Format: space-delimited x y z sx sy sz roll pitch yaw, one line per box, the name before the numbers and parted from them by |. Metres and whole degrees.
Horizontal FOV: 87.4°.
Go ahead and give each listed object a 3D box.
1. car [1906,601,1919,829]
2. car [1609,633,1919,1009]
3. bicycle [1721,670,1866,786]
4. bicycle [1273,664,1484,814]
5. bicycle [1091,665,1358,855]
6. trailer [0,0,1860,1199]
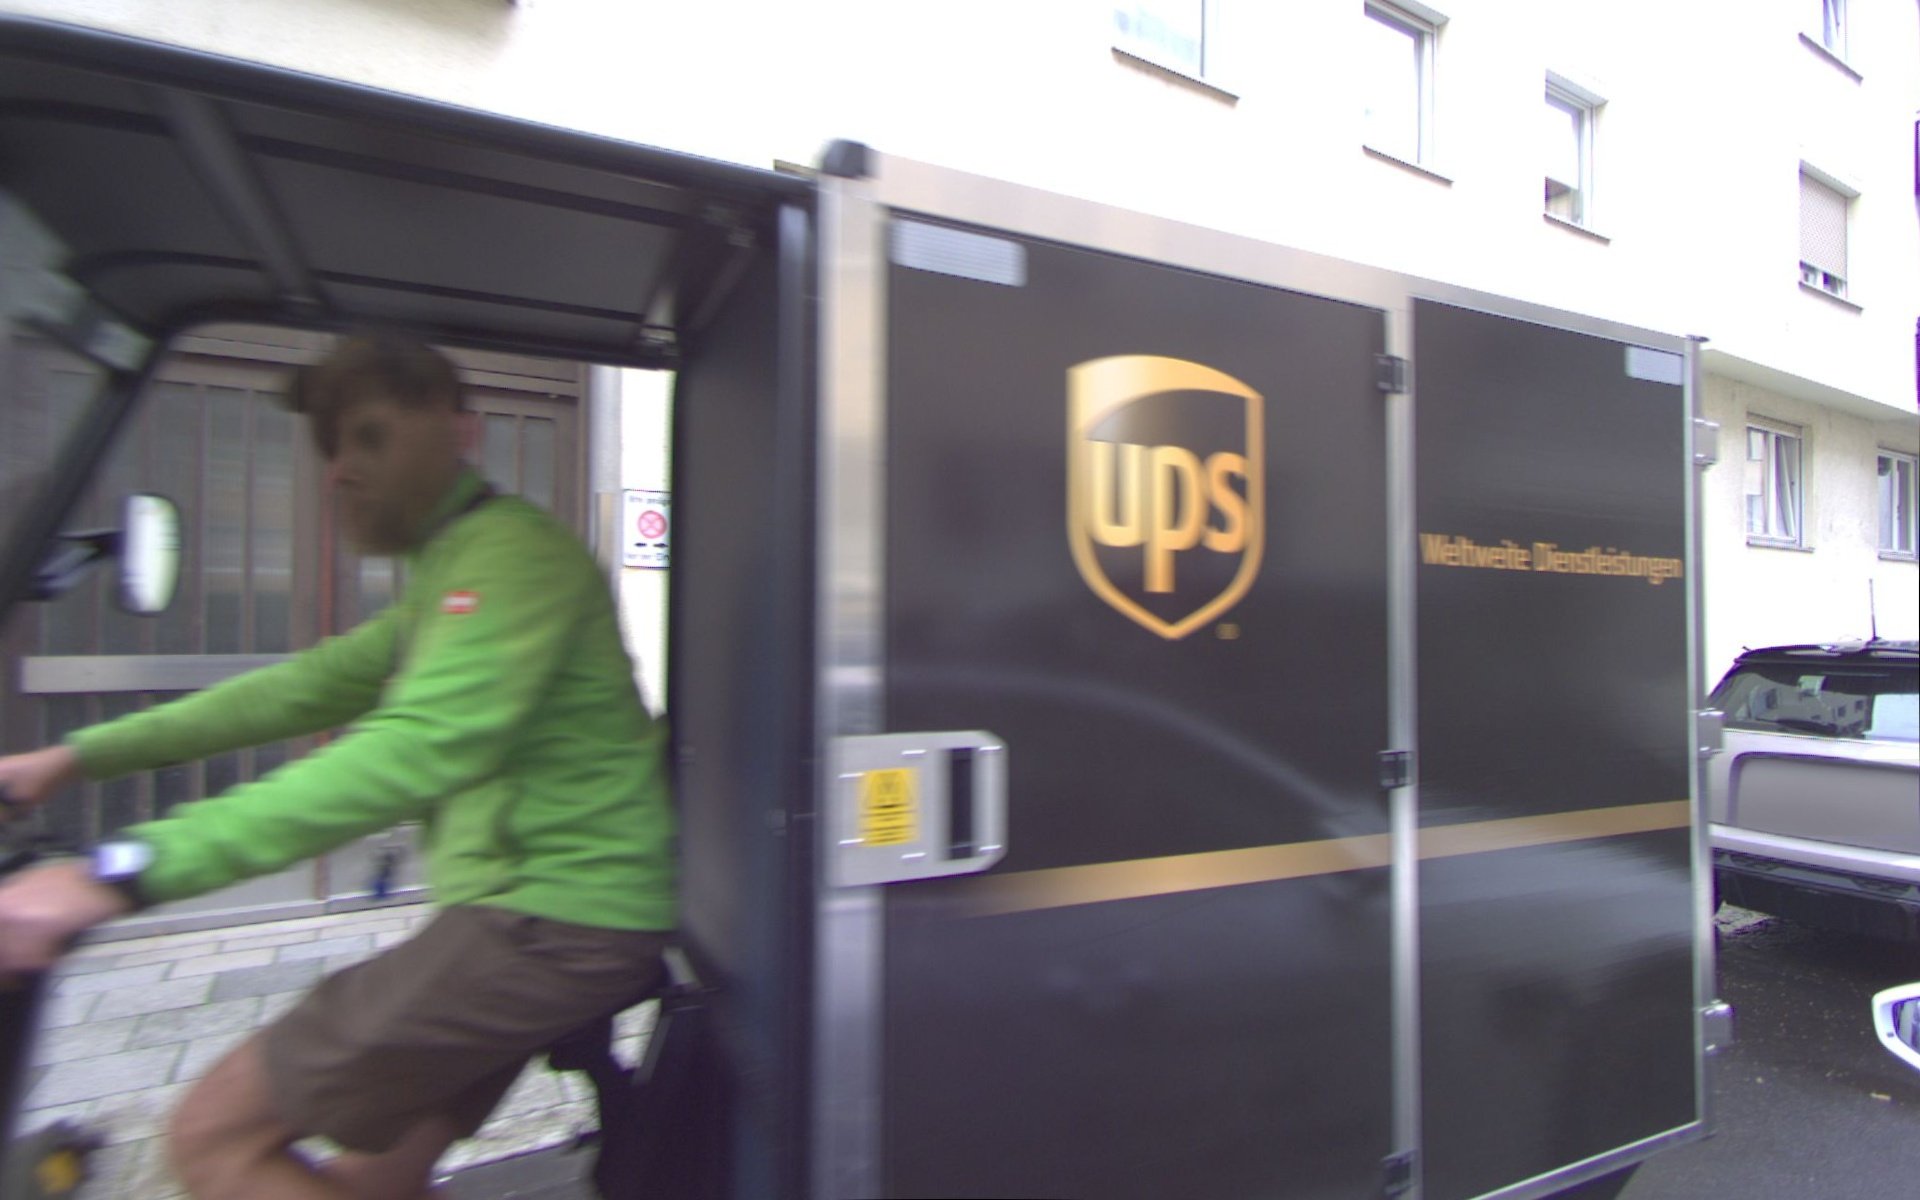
car | 9.408 0.886 7.907 4.317 1.697 1.757 2 -2 -31
car | 5.191 0.910 5.124 3.758 1.454 1.644 1 -2 -30
bicycle | 9.325 1.391 11.223 1.768 1.176 0.642 1 -3 -30
bicycle | 3.279 1.029 7.804 1.839 1.012 0.510 2 1 -32
bicycle | 1.808 1.007 6.781 1.794 1.041 0.726 1 0 -33
trailer | -0.177 0.372 1.601 3.276 2.144 1.350 2 -1 -28
